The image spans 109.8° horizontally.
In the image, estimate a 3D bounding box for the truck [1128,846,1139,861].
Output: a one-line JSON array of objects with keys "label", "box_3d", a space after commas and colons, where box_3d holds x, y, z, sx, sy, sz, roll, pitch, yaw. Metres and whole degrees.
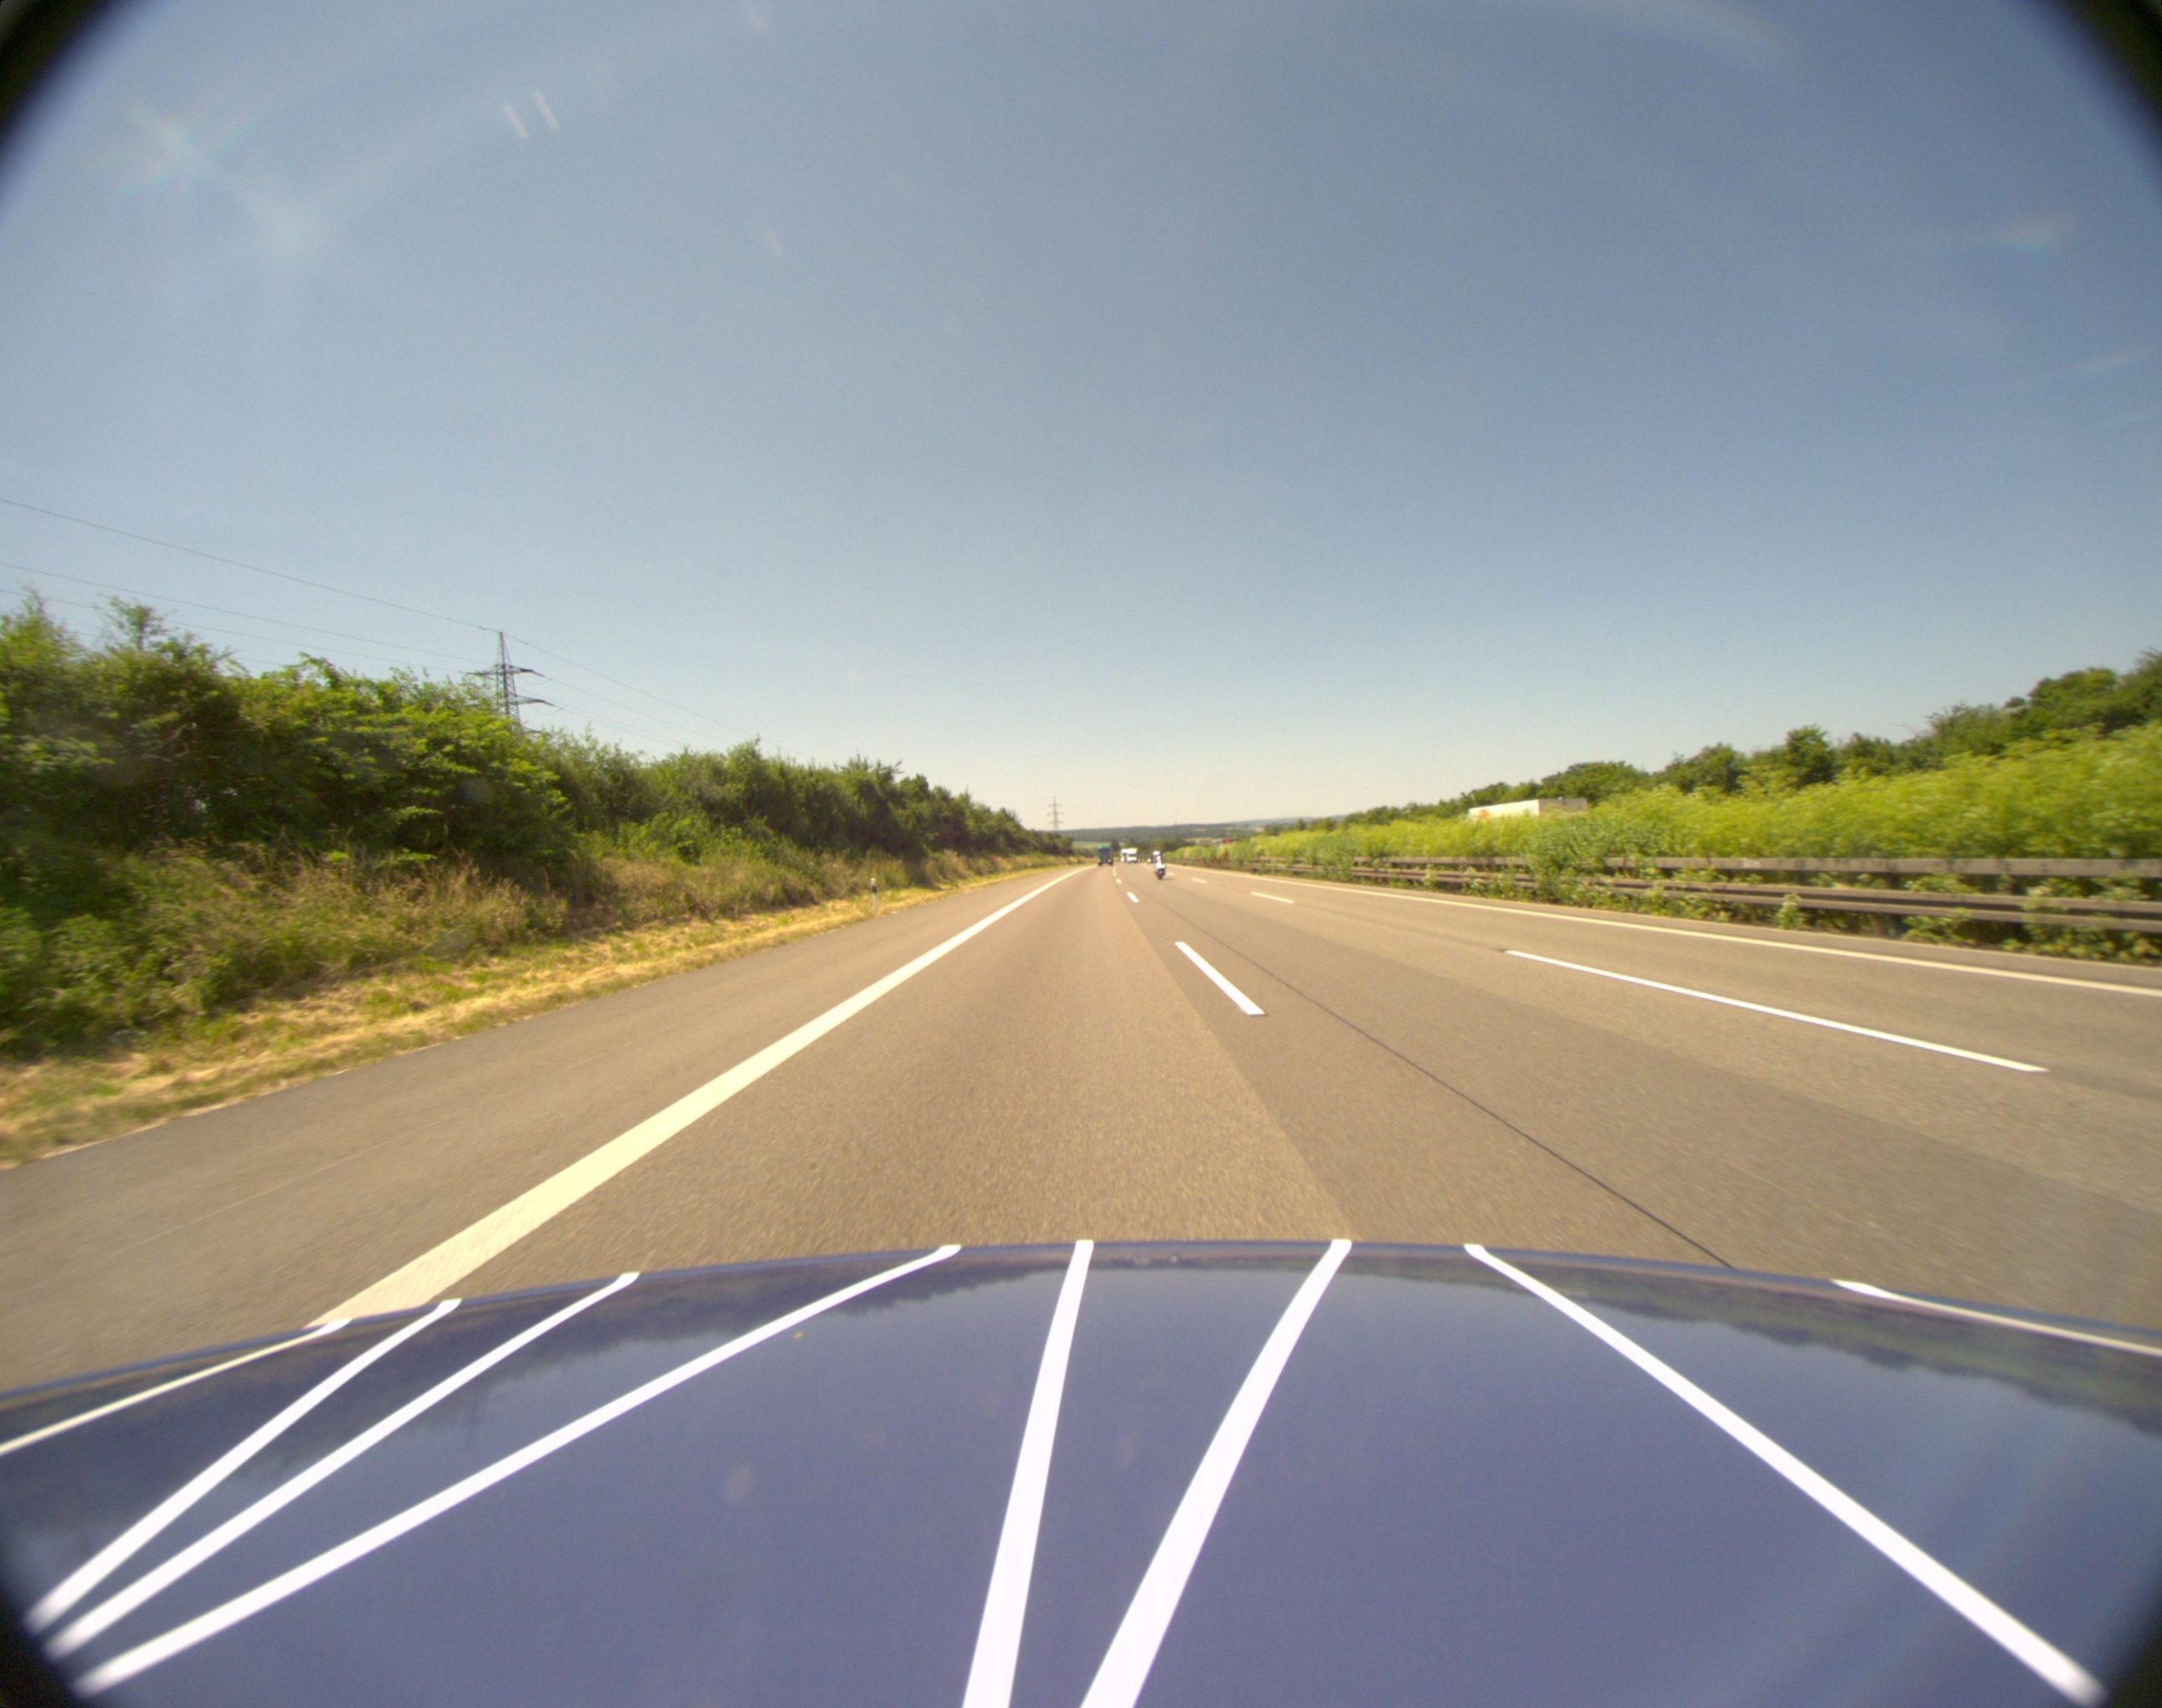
[{"label": "truck", "box_3d": [11.819, -0.077, 171.401, 2.512, 3.268, 8.109, -1, 0, 3]}]

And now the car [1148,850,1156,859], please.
[{"label": "car", "box_3d": [15.416, 0.063, 165.176, 1.704, 1.958, 4.002, -1, 0, 5]}]

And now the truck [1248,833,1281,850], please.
[{"label": "truck", "box_3d": [23.245, -1.558, 96.420, 2.498, 2.002, 6.797, -1, 0, 0]}]

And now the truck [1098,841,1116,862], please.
[{"label": "truck", "box_3d": [4.807, -0.458, 140.299, 2.872, 3.701, 12.767, -1, 0, 4]}]

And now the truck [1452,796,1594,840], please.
[{"label": "truck", "box_3d": [25.405, -1.975, 44.480, 2.660, 2.002, 9.857, -1, 0, 1]}]

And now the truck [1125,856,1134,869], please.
[{"label": "truck", "box_3d": [15.064, 2.596, 237.727, 2.567, 4.129, 6.250, -1, 0, 3]}]

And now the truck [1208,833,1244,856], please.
[{"label": "truck", "box_3d": [26.353, -1.568, 139.209, 3.237, 3.590, 18.533, -4, 0, 2]}]
